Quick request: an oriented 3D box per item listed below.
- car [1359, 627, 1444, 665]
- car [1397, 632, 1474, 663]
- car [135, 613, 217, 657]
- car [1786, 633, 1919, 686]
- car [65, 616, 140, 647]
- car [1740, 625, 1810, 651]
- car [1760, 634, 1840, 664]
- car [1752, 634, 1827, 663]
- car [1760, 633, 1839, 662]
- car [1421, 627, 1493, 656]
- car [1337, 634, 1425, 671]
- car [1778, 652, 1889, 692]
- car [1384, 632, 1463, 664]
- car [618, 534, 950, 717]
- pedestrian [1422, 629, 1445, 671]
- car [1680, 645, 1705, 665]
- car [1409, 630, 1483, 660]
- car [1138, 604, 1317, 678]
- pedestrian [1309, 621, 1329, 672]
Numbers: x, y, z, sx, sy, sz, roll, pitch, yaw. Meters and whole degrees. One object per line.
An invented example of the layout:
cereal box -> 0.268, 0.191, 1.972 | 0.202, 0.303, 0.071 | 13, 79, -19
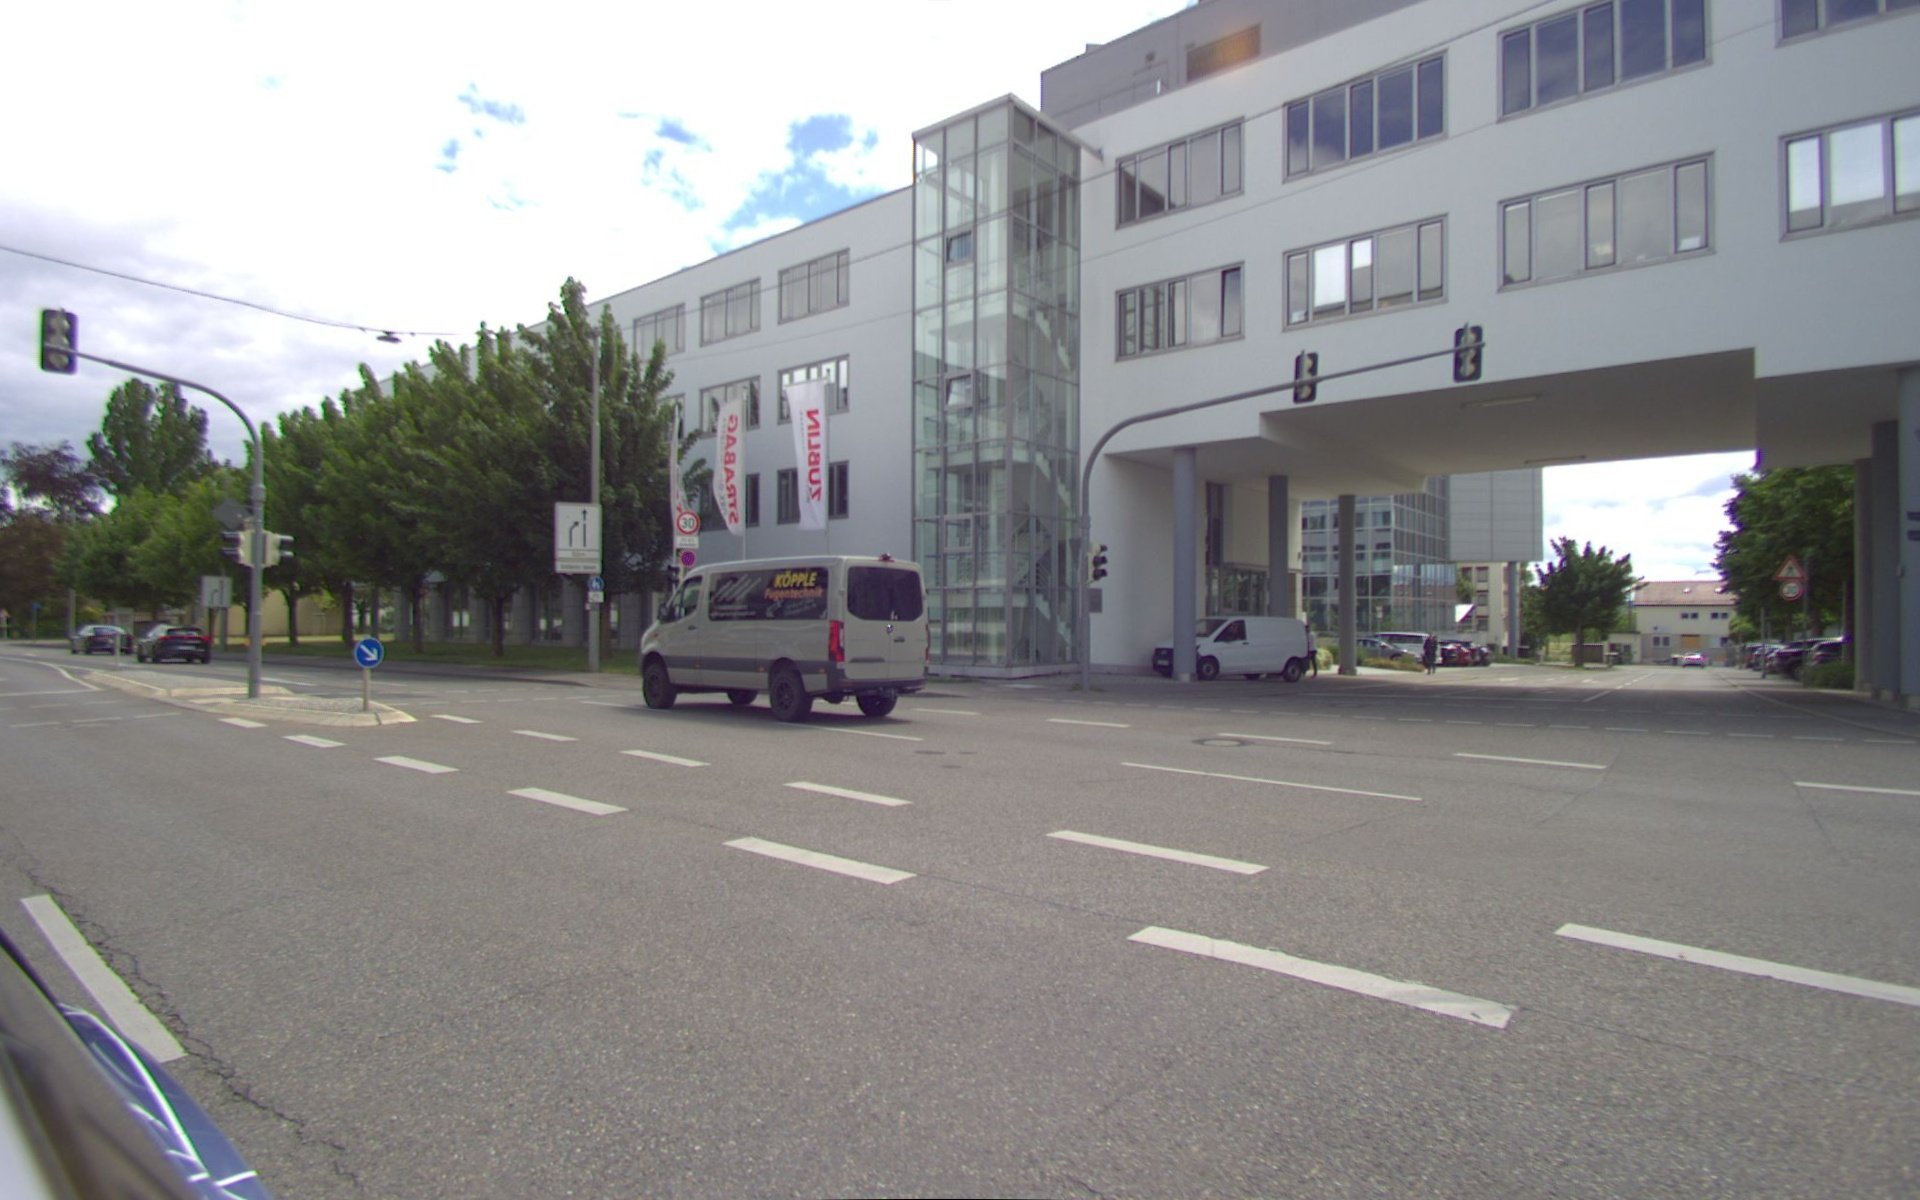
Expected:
car -> 24.615, 2.536, 56.483 | 3.995, 1.853, 1.930 | 0, 2, 39
car -> 29.391, 2.893, 62.603 | 4.002, 1.664, 1.825 | 0, 2, 39
car -> -31.081, 1.351, 40.077 | 4.541, 1.564, 1.864 | 1, -1, 44
car -> 32.301, 2.110, 36.431 | 3.900, 1.763, 1.767 | -1, -2, 42
car -> -43.981, 1.587, 51.897 | 5.045, 1.456, 2.004 | 0, -2, 39
car -> 59.489, 2.748, 73.910 | 3.941, 1.675, 1.846 | 0, 2, 41
car -> 54.060, 3.141, 65.190 | 3.941, 1.675, 1.846 | 0, 2, 41
car -> 56.535, 3.274, 69.021 | 3.941, 1.675, 1.846 | 0, 2, 41
car -> 55.297, 3.099, 66.687 | 3.941, 1.675, 1.846 | 0, 2, 41
car -> 32.645, 2.713, 66.483 | 4.002, 1.664, 1.825 | 0, 2, 39
car -> 22.735, 2.780, 54.727 | 3.996, 1.715, 1.974 | 0, 2, 39
car -> 40.350, 3.286, 46.839 | 3.814, 1.653, 1.690 | -1, -2, 41
car -> 27.860, 2.881, 60.887 | 4.002, 1.664, 1.825 | 0, 2, 39
car -> -3.100, 0.399, 16.656 | 6.073, 2.490, 2.119 | 0, -3, 43
pedestrian -> 20.777, 2.174, 44.418 | 0.815, 1.796, 0.692 | 0, 1, 36
car -> 71.043, 5.361, 98.246 | 1.842, 1.611, 3.813 | 0, 2, 34
car -> 30.993, 2.849, 64.569 | 4.002, 1.664, 1.825 | 0, 2, 39
car -> 7.797, 1.191, 29.452 | 4.751, 1.882, 2.091 | 3, -1, -26
pedestrian -> 11.925, 1.539, 33.635 | 0.486, 1.674, 0.506 | 0, 1, 37
